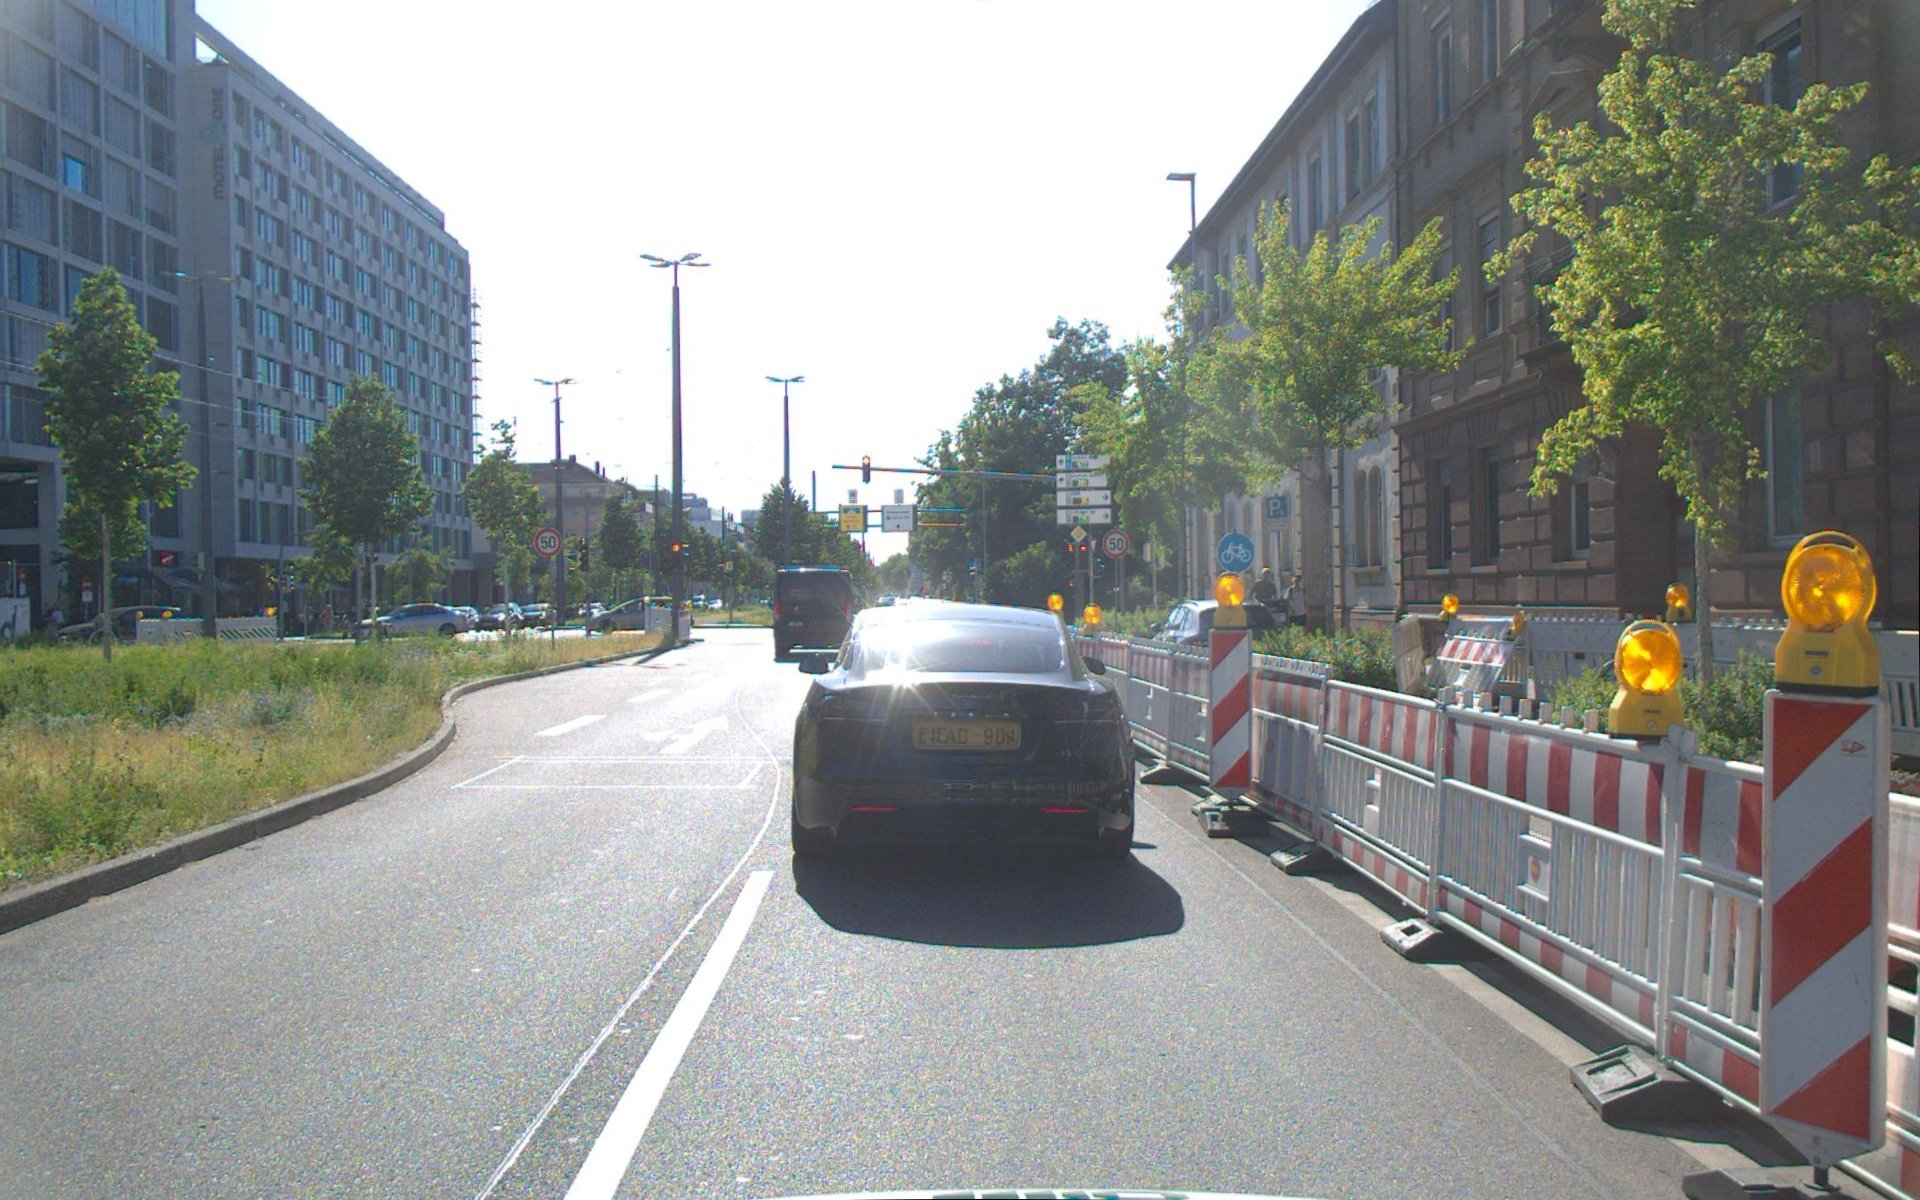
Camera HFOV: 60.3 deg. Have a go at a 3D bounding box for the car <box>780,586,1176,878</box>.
[{"bbox_3d":[0.025,0.673,10.742,2.010,1.469,4.522,1,0,-2],"label":"car"}]

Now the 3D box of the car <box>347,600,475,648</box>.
[{"bbox_3d":[-21.767,0.930,65.651,4.473,1.824,1.976,-1,0,-35],"label":"car"}]

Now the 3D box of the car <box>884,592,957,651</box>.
[{"bbox_3d":[-1.076,0.561,43.289,1.756,1.453,3.847,1,0,-3],"label":"car"}]

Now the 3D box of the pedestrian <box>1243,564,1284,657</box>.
[{"bbox_3d":[6.496,0.222,35.419,0.645,1.946,0.587,-3,0,-2],"label":"pedestrian"}]

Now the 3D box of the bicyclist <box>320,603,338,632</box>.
[{"bbox_3d":[-35.971,0.985,94.314,0.581,1.608,0.893,1,-1,2],"label":"bicyclist"}]

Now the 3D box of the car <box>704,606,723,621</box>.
[{"bbox_3d":[-29.344,1.599,197.095,1.754,1.680,3.999,-1,0,-1],"label":"car"}]

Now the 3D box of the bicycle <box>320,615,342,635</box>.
[{"bbox_3d":[-35.857,1.429,94.337,0.574,1.119,1.623,1,-1,2],"label":"bicycle"}]

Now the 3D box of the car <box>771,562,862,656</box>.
[{"bbox_3d":[-3.716,0.214,43.447,2.174,2.307,4.482,1,0,-3],"label":"car"}]

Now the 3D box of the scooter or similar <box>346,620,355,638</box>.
[{"bbox_3d":[-32.711,1.539,88.748,0.280,0.964,0.766,-1,0,-9],"label":"scooter or similar"}]

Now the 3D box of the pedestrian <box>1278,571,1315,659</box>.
[{"bbox_3d":[7.209,0.319,35.449,0.551,1.852,0.587,-3,0,-2],"label":"pedestrian"}]

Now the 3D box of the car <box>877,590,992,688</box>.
[{"bbox_3d":[-0.457,0.568,27.091,1.712,1.452,4.836,0,0,-2],"label":"car"}]

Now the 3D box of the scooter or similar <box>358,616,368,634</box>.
[{"bbox_3d":[-32.015,1.328,88.707,0.224,0.964,0.767,-1,0,-1],"label":"scooter or similar"}]

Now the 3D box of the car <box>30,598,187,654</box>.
[{"bbox_3d":[-29.543,0.881,57.517,1.957,1.824,4.517,-1,0,31],"label":"car"}]

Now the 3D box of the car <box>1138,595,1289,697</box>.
[{"bbox_3d":[4.185,0.707,27.955,1.614,1.501,4.699,-3,0,-2],"label":"car"}]

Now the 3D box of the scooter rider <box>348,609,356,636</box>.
[{"bbox_3d":[-32.693,1.212,88.874,0.335,1.478,0.239,-1,0,-1],"label":"scooter rider"}]

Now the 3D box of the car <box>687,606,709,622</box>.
[{"bbox_3d":[-27.863,1.508,176.124,1.771,1.680,3.999,-1,0,-1],"label":"car"}]

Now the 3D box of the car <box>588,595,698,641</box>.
[{"bbox_3d":[-13.268,0.736,69.184,4.433,1.824,1.994,-1,0,-13],"label":"car"}]

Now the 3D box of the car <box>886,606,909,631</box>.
[{"bbox_3d":[-4.961,1.450,130.540,1.756,1.906,3.847,1,0,-3],"label":"car"}]

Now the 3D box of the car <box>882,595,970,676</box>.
[{"bbox_3d":[-0.698,0.690,34.259,1.714,1.554,4.004,1,0,-1],"label":"car"}]

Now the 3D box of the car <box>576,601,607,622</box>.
[{"bbox_3d":[-30.201,0.951,135.642,1.754,1.680,3.999,-1,0,-1],"label":"car"}]

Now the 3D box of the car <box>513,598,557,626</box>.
[{"bbox_3d":[-26.385,0.739,102.678,1.754,1.680,3.999,-1,0,-1],"label":"car"}]

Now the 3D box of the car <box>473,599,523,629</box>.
[{"bbox_3d":[-26.357,0.779,94.507,1.754,1.680,3.999,-1,0,-1],"label":"car"}]

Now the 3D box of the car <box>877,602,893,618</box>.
[{"bbox_3d":[-8.935,1.166,196.479,1.756,1.906,3.847,1,0,-3],"label":"car"}]
